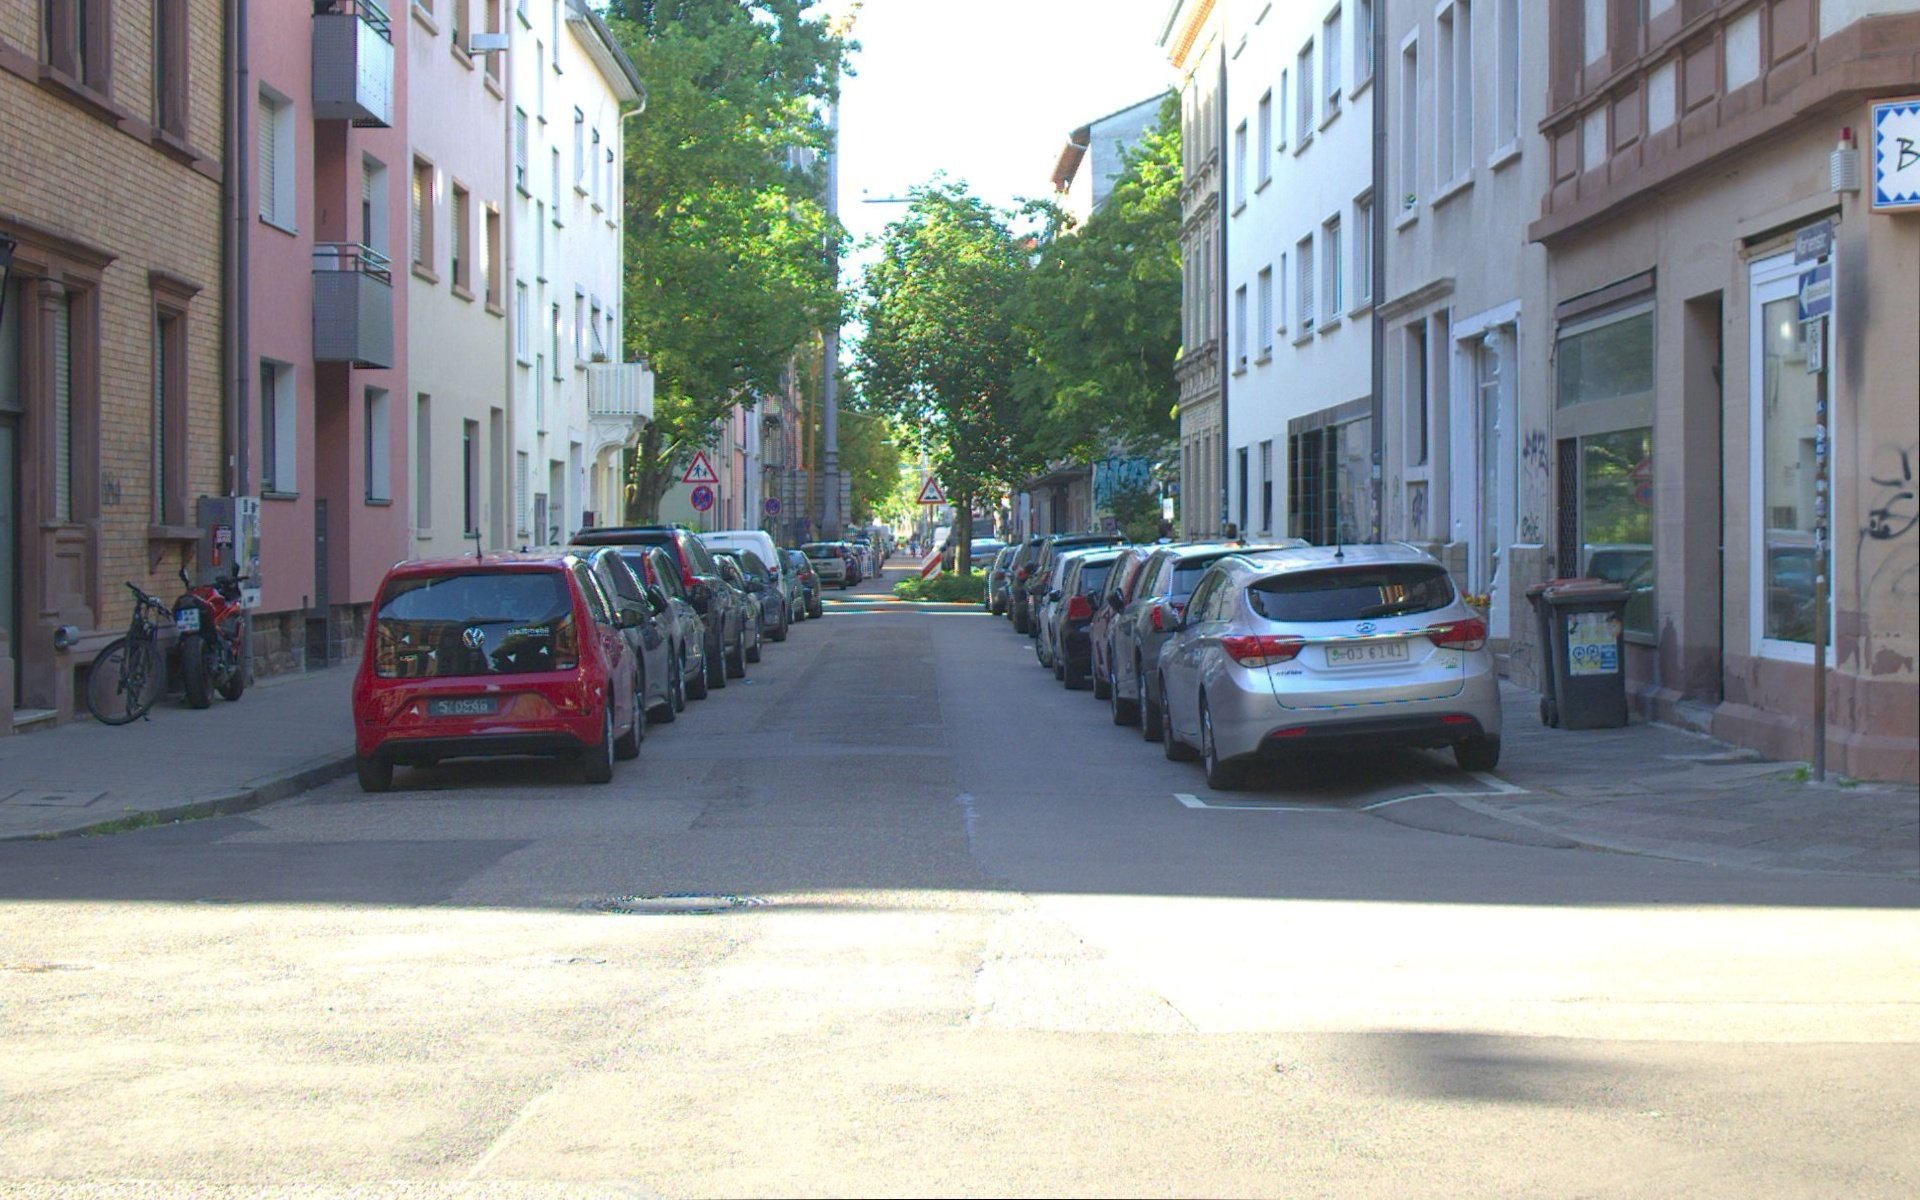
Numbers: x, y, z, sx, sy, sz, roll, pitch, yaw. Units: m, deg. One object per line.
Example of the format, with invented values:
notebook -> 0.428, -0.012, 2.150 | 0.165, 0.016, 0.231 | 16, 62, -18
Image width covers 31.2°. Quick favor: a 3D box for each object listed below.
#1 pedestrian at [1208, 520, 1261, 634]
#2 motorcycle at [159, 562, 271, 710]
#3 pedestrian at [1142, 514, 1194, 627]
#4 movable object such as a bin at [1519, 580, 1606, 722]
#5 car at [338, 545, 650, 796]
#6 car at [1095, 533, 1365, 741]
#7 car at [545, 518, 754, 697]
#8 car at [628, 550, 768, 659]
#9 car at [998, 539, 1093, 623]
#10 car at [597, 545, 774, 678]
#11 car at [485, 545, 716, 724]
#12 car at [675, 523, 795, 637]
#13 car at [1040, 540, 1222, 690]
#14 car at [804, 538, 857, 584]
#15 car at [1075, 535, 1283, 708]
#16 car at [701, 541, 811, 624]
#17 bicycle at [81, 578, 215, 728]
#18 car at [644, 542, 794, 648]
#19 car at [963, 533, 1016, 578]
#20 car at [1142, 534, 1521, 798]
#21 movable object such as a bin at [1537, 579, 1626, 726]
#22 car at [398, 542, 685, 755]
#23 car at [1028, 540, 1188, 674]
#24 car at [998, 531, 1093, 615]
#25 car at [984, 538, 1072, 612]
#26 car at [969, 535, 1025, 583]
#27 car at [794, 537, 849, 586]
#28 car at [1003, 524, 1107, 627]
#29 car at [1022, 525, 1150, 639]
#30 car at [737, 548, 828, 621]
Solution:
pedestrian -> 4.040, -0.339, 50.579 | 0.685, 1.654, 0.717 | -1, 1, -1
motorcycle -> -6.317, 0.284, 29.212 | 0.533, 1.201, 1.909 | 0, 1, 0
pedestrian -> 3.070, -0.443, 50.802 | 0.685, 1.654, 0.717 | -1, 1, -1
movable object such as a bin -> 4.528, 0.379, 25.858 | 0.514, 1.036, 0.594 | -2, 1, 0
car -> -3.045, 0.409, 23.071 | 1.628, 1.476, 3.601 | -2, 1, -1
car -> 2.116, 0.241, 27.925 | 1.744, 1.501, 4.021 | -2, 1, -1
car -> -3.374, 0.022, 38.138 | 1.743, 1.805, 4.672 | -2, 1, 1
car -> -3.645, 0.026, 48.379 | 1.673, 1.383, 4.182 | -2, 1, -1
car -> 1.585, -0.383, 64.745 | 1.566, 1.478, 3.619 | -2, 1, -1
car -> -3.406, 0.109, 43.350 | 1.743, 1.501, 4.346 | -2, 1, 1
car -> -3.350, 0.279, 32.661 | 1.656, 1.516, 3.944 | -2, 1, 1
car -> -3.707, -0.369, 57.298 | 1.765, 1.779, 4.039 | -2, 1, -1
car -> 1.835, 0.121, 37.898 | 1.676, 1.501, 3.938 | -2, 1, -1
car -> -4.386, -1.334, 116.628 | 1.676, 1.482, 4.095 | -2, 1, -1
car -> 2.053, 0.156, 33.170 | 1.598, 1.501, 4.185 | -2, 1, -1
car -> -3.899, -0.363, 66.178 | 1.670, 1.464, 3.820 | -2, 1, 3
bicycle -> -6.309, 0.389, 26.794 | 0.533, 1.070, 1.891 | 4, 1, 0
car -> -3.653, -0.102, 52.771 | 1.674, 1.481, 3.991 | -2, 1, 5
car -> 1.004, -1.563, 119.275 | 1.676, 1.482, 3.638 | -2, 1, -1
car -> 2.333, 0.352, 22.684 | 1.743, 1.501, 4.358 | -2, 1, -3
movable object such as a bin -> 4.534, 0.380, 25.104 | 0.514, 1.036, 0.619 | -2, 1, 0
car -> -3.300, 0.327, 27.822 | 1.695, 1.516, 4.096 | -2, 1, 1
car -> 1.792, 0.048, 42.641 | 1.676, 1.501, 3.938 | -2, 1, -1
car -> 1.689, -0.565, 68.958 | 1.676, 1.556, 3.796 | -2, 1, -1
car -> 1.431, -0.562, 73.862 | 1.676, 1.482, 4.095 | -2, 1, -1
car -> 1.201, -1.366, 112.840 | 1.676, 1.482, 3.638 | -2, 1, -1
car -> -4.478, -1.256, 111.476 | 1.676, 1.482, 4.095 | -2, 1, -1
car -> 1.617, -0.419, 59.870 | 1.676, 1.676, 4.094 | -2, 0, 0
car -> 1.952, -0.306, 54.332 | 1.676, 1.621, 4.251 | -4, 1, -1
car -> -3.602, -0.337, 70.300 | 1.670, 1.356, 4.049 | -2, 1, -1
